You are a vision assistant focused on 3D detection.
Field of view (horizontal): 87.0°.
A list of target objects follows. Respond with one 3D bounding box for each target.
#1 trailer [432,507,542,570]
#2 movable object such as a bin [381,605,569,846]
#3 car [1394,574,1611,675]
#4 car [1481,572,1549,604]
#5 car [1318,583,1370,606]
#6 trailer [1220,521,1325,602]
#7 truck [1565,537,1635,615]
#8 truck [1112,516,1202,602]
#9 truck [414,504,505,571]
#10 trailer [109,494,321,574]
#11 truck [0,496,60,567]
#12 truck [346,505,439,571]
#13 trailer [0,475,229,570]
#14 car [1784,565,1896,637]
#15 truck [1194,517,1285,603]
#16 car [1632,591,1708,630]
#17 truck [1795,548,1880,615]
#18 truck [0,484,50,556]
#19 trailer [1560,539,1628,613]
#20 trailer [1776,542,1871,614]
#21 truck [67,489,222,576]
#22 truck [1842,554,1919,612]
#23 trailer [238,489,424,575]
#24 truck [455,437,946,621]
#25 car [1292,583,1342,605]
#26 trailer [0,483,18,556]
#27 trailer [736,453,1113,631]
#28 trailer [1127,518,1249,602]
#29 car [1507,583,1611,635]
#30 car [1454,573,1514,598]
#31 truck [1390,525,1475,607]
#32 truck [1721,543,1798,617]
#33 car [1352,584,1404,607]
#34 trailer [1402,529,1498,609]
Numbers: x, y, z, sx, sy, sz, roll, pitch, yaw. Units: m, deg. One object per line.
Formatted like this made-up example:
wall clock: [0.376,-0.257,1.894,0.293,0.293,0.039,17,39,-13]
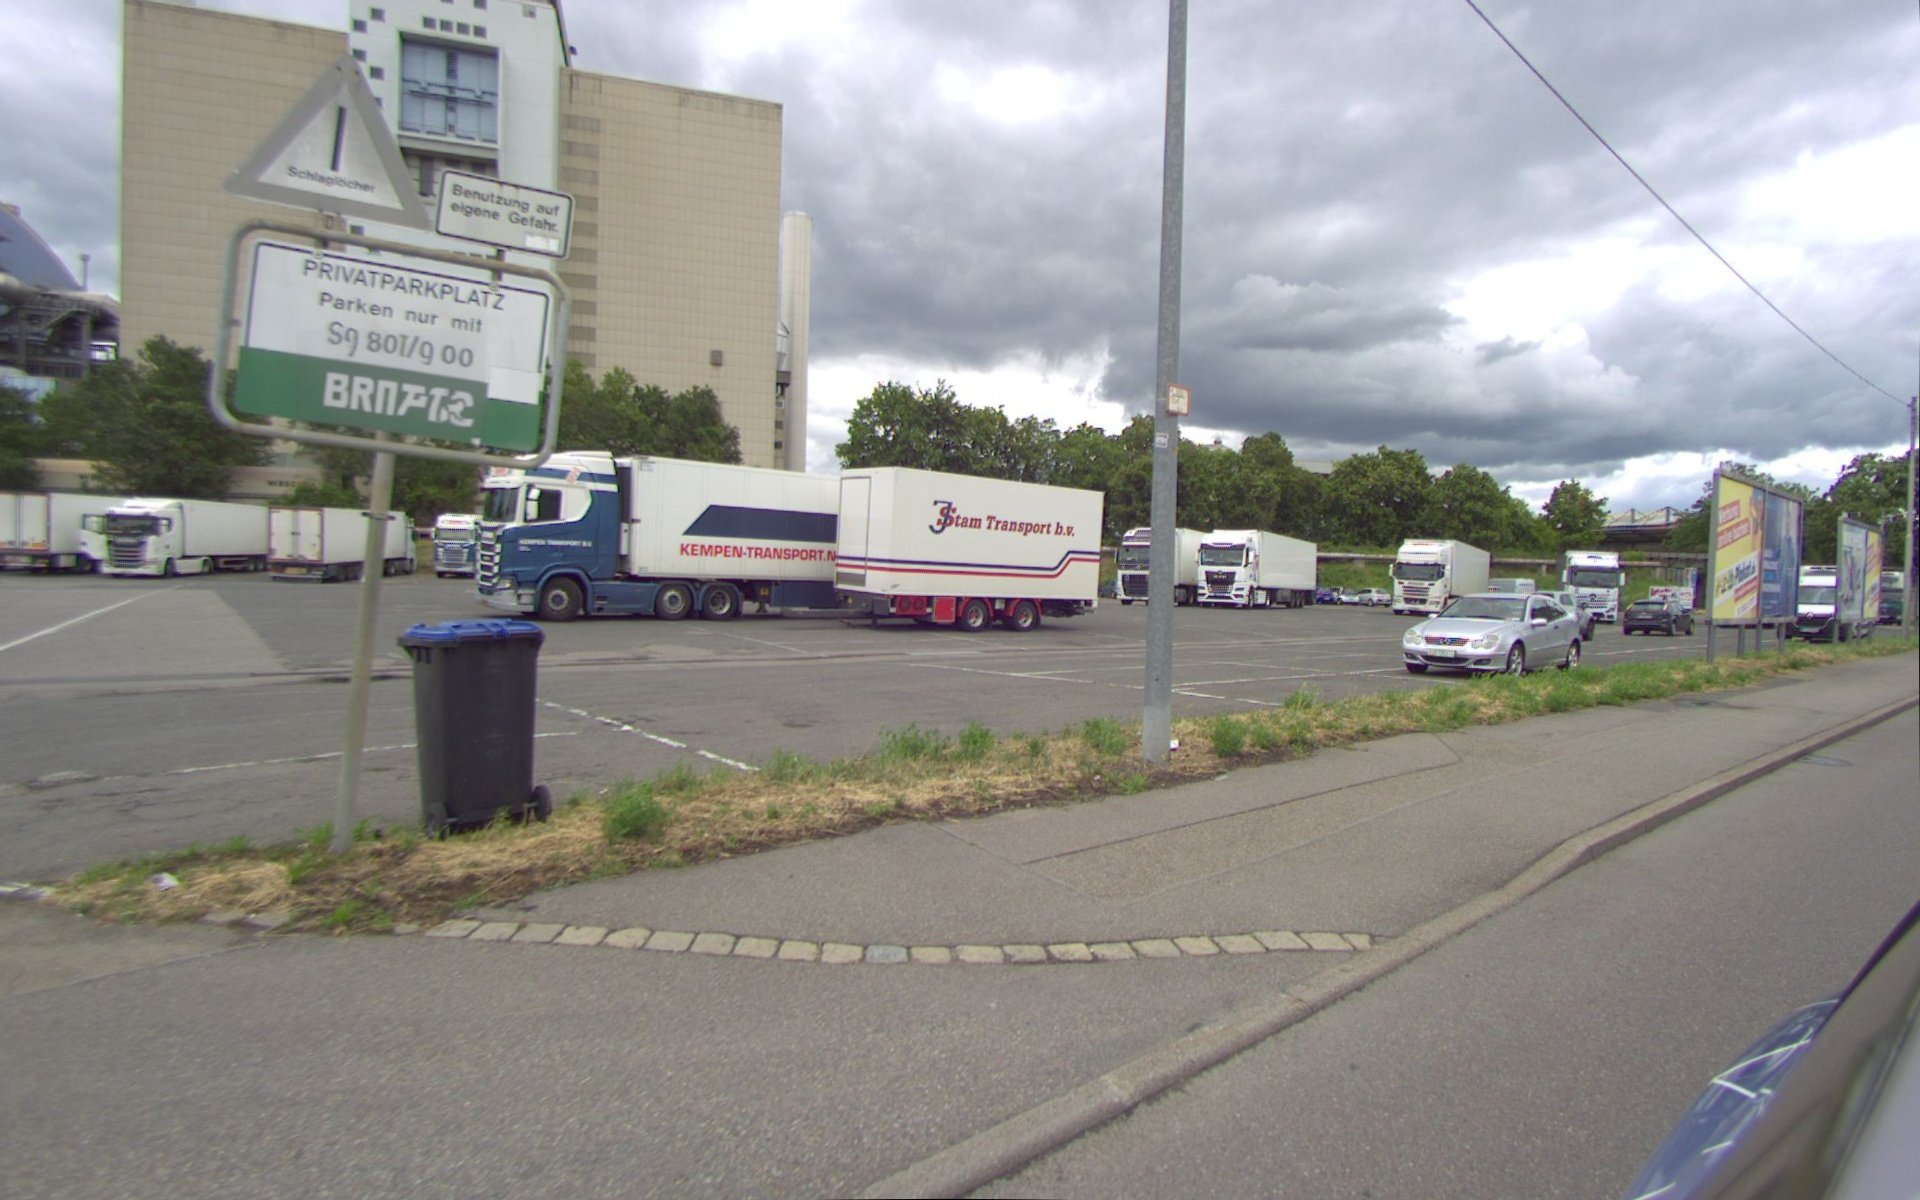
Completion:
trailer: [-34.835,-4.387,75.604,3.566,4.007,18.544,1,2,-13]
movable object such as a bin: [-2.505,0.592,5.223,0.714,1.094,0.652,3,2,43]
car: [9.416,0.353,17.423,4.480,1.482,1.777,0,2,-41]
car: [46.030,-1.032,84.081,2.322,2.479,4.929,1,2,-9]
car: [31.348,-0.467,82.723,1.958,1.628,4.230,1,2,-11]
trailer: [18.333,-2.149,58.603,2.597,4.145,12.303,4,3,32]
truck: [36.811,-1.415,58.388,2.851,4.145,6.687,3,3,30]
truck: [10.249,-2.091,52.279,2.597,4.145,5.590,4,3,32]
truck: [-32.811,-4.042,66.693,3.634,4.013,7.273,1,2,-12]
trailer: [-45.154,-3.853,62.654,3.566,4.140,18.544,1,2,-13]
truck: [-50.778,-3.550,52.024,3.634,3.601,7.273,1,2,-13]
truck: [-38.843,-4.179,69.568,3.634,4.224,7.273,1,2,-13]
trailer: [-48.060,-4.066,57.629,3.484,4.556,18.332,0,2,-13]
car: [32.680,0.017,37.509,5.974,2.445,2.091,0,2,-39]
truck: [14.608,-2.040,52.629,2.597,4.145,6.680,4,3,32]
car: [29.283,0.412,41.717,3.980,1.513,1.497,0,2,-39]
truck: [52.275,-1.115,60.443,2.856,3.674,6.674,4,3,34]
truck: [-62.182,-5.066,64.597,3.473,4.487,6.670,0,2,-16]
trailer: [40.296,-1.554,64.660,2.816,4.145,13.260,3,3,29]
trailer: [55.759,-1.430,65.707,2.821,4.145,13.237,4,3,33]
truck: [-42.984,-3.472,53.699,3.633,4.171,7.273,1,2,-14]
truck: [64.338,-1.222,70.435,2.808,3.757,9.003,2,2,31]
trailer: [-36.706,-3.808,60.450,3.566,4.224,18.544,1,2,-13]
truck: [-6.365,-1.679,27.559,12.839,4.015,3.082,0,4,-41]
car: [28.902,-0.500,82.082,1.958,1.628,4.230,1,2,-11]
trailer: [-59.676,-4.748,55.640,3.484,4.556,18.334,0,2,-16]
trailer: [-0.601,-1.411,27.205,10.214,4.015,2.967,0,4,-38]
trailer: [13.050,-2.154,56.776,2.597,4.145,12.303,4,3,32]
car: [19.411,0.267,32.733,3.930,1.591,1.768,0,0,-41]
car: [43.396,-1.236,83.933,1.959,1.915,4.729,1,2,-9]
truck: [25.728,-1.831,54.952,2.858,4.145,6.671,4,3,35]
truck: [47.272,-1.216,60.014,2.856,4.062,6.674,4,3,34]
car: [33.758,-0.395,81.916,1.958,1.628,4.009,1,2,-11]
trailer: [29.205,-1.781,59.915,2.823,4.145,13.227,4,3,35]
